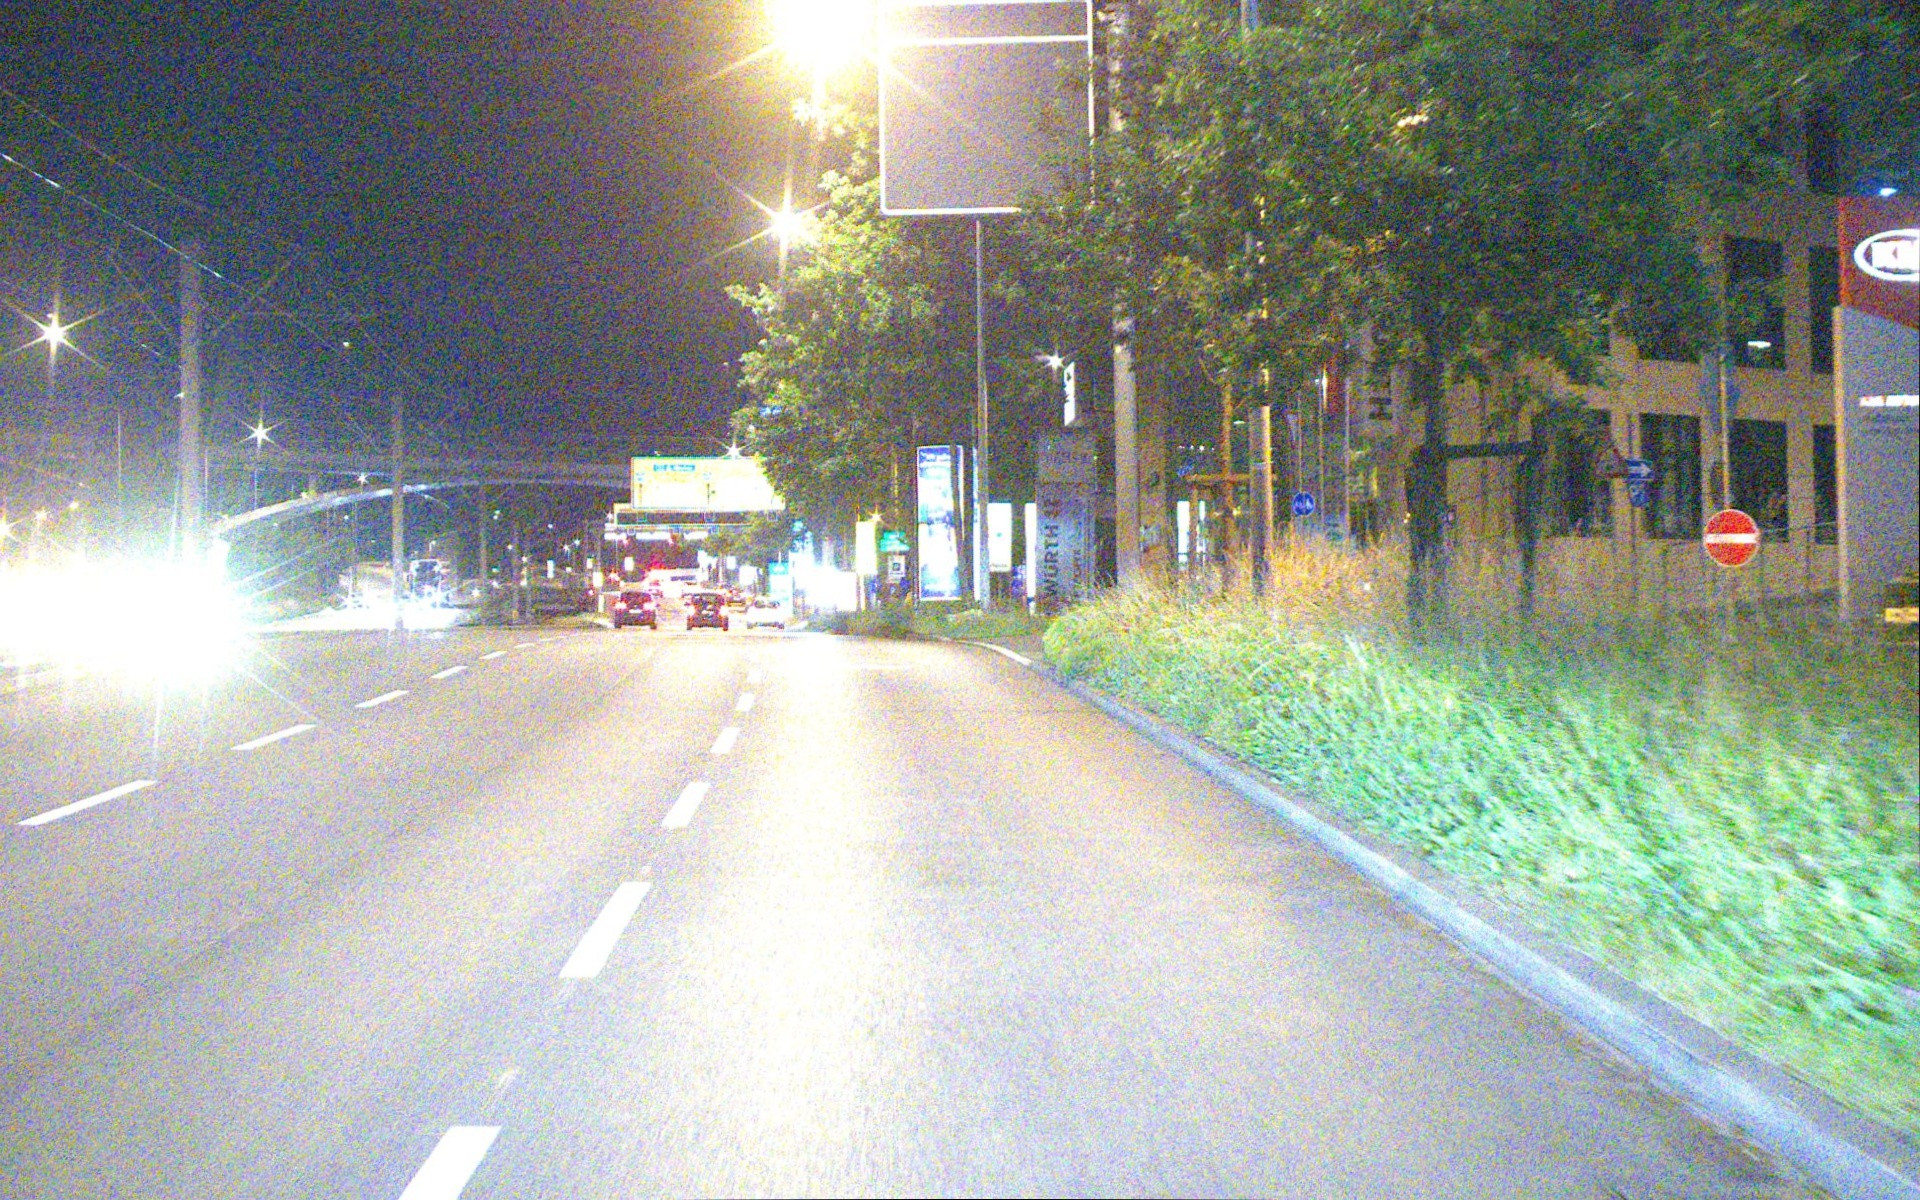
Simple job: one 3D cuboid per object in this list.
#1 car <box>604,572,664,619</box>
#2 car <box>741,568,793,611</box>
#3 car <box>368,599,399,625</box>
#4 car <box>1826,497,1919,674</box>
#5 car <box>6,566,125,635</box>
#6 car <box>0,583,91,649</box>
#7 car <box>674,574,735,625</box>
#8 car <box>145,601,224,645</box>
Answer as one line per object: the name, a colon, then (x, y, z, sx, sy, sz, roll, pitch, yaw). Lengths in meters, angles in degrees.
car: (-14.266, -0.210, 150.792, 2.262, 2.007, 4.826, 0, 1, -1)
car: (-9.580, -0.534, 170.981, 2.427, 2.106, 4.826, 0, 1, -1)
car: (-40.818, 0.847, 243.388, 1.863, 1.744, 3.702, 0, 1, -5)
car: (9.531, -0.110, 28.546, 4.120, 1.415, 1.877, 0, 0, -14)
car: (-20.007, -0.011, 77.059, 1.620, 1.435, 4.338, -2, 1, -2)
car: (-23.933, 0.406, 89.370, 1.993, 1.589, 4.001, -2, 1, -6)
car: (-10.874, -0.042, 146.633, 2.356, 2.122, 4.826, 0, 1, -1)
car: (-26.626, 0.773, 118.158, 1.866, 1.424, 4.957, 0, 1, -4)
